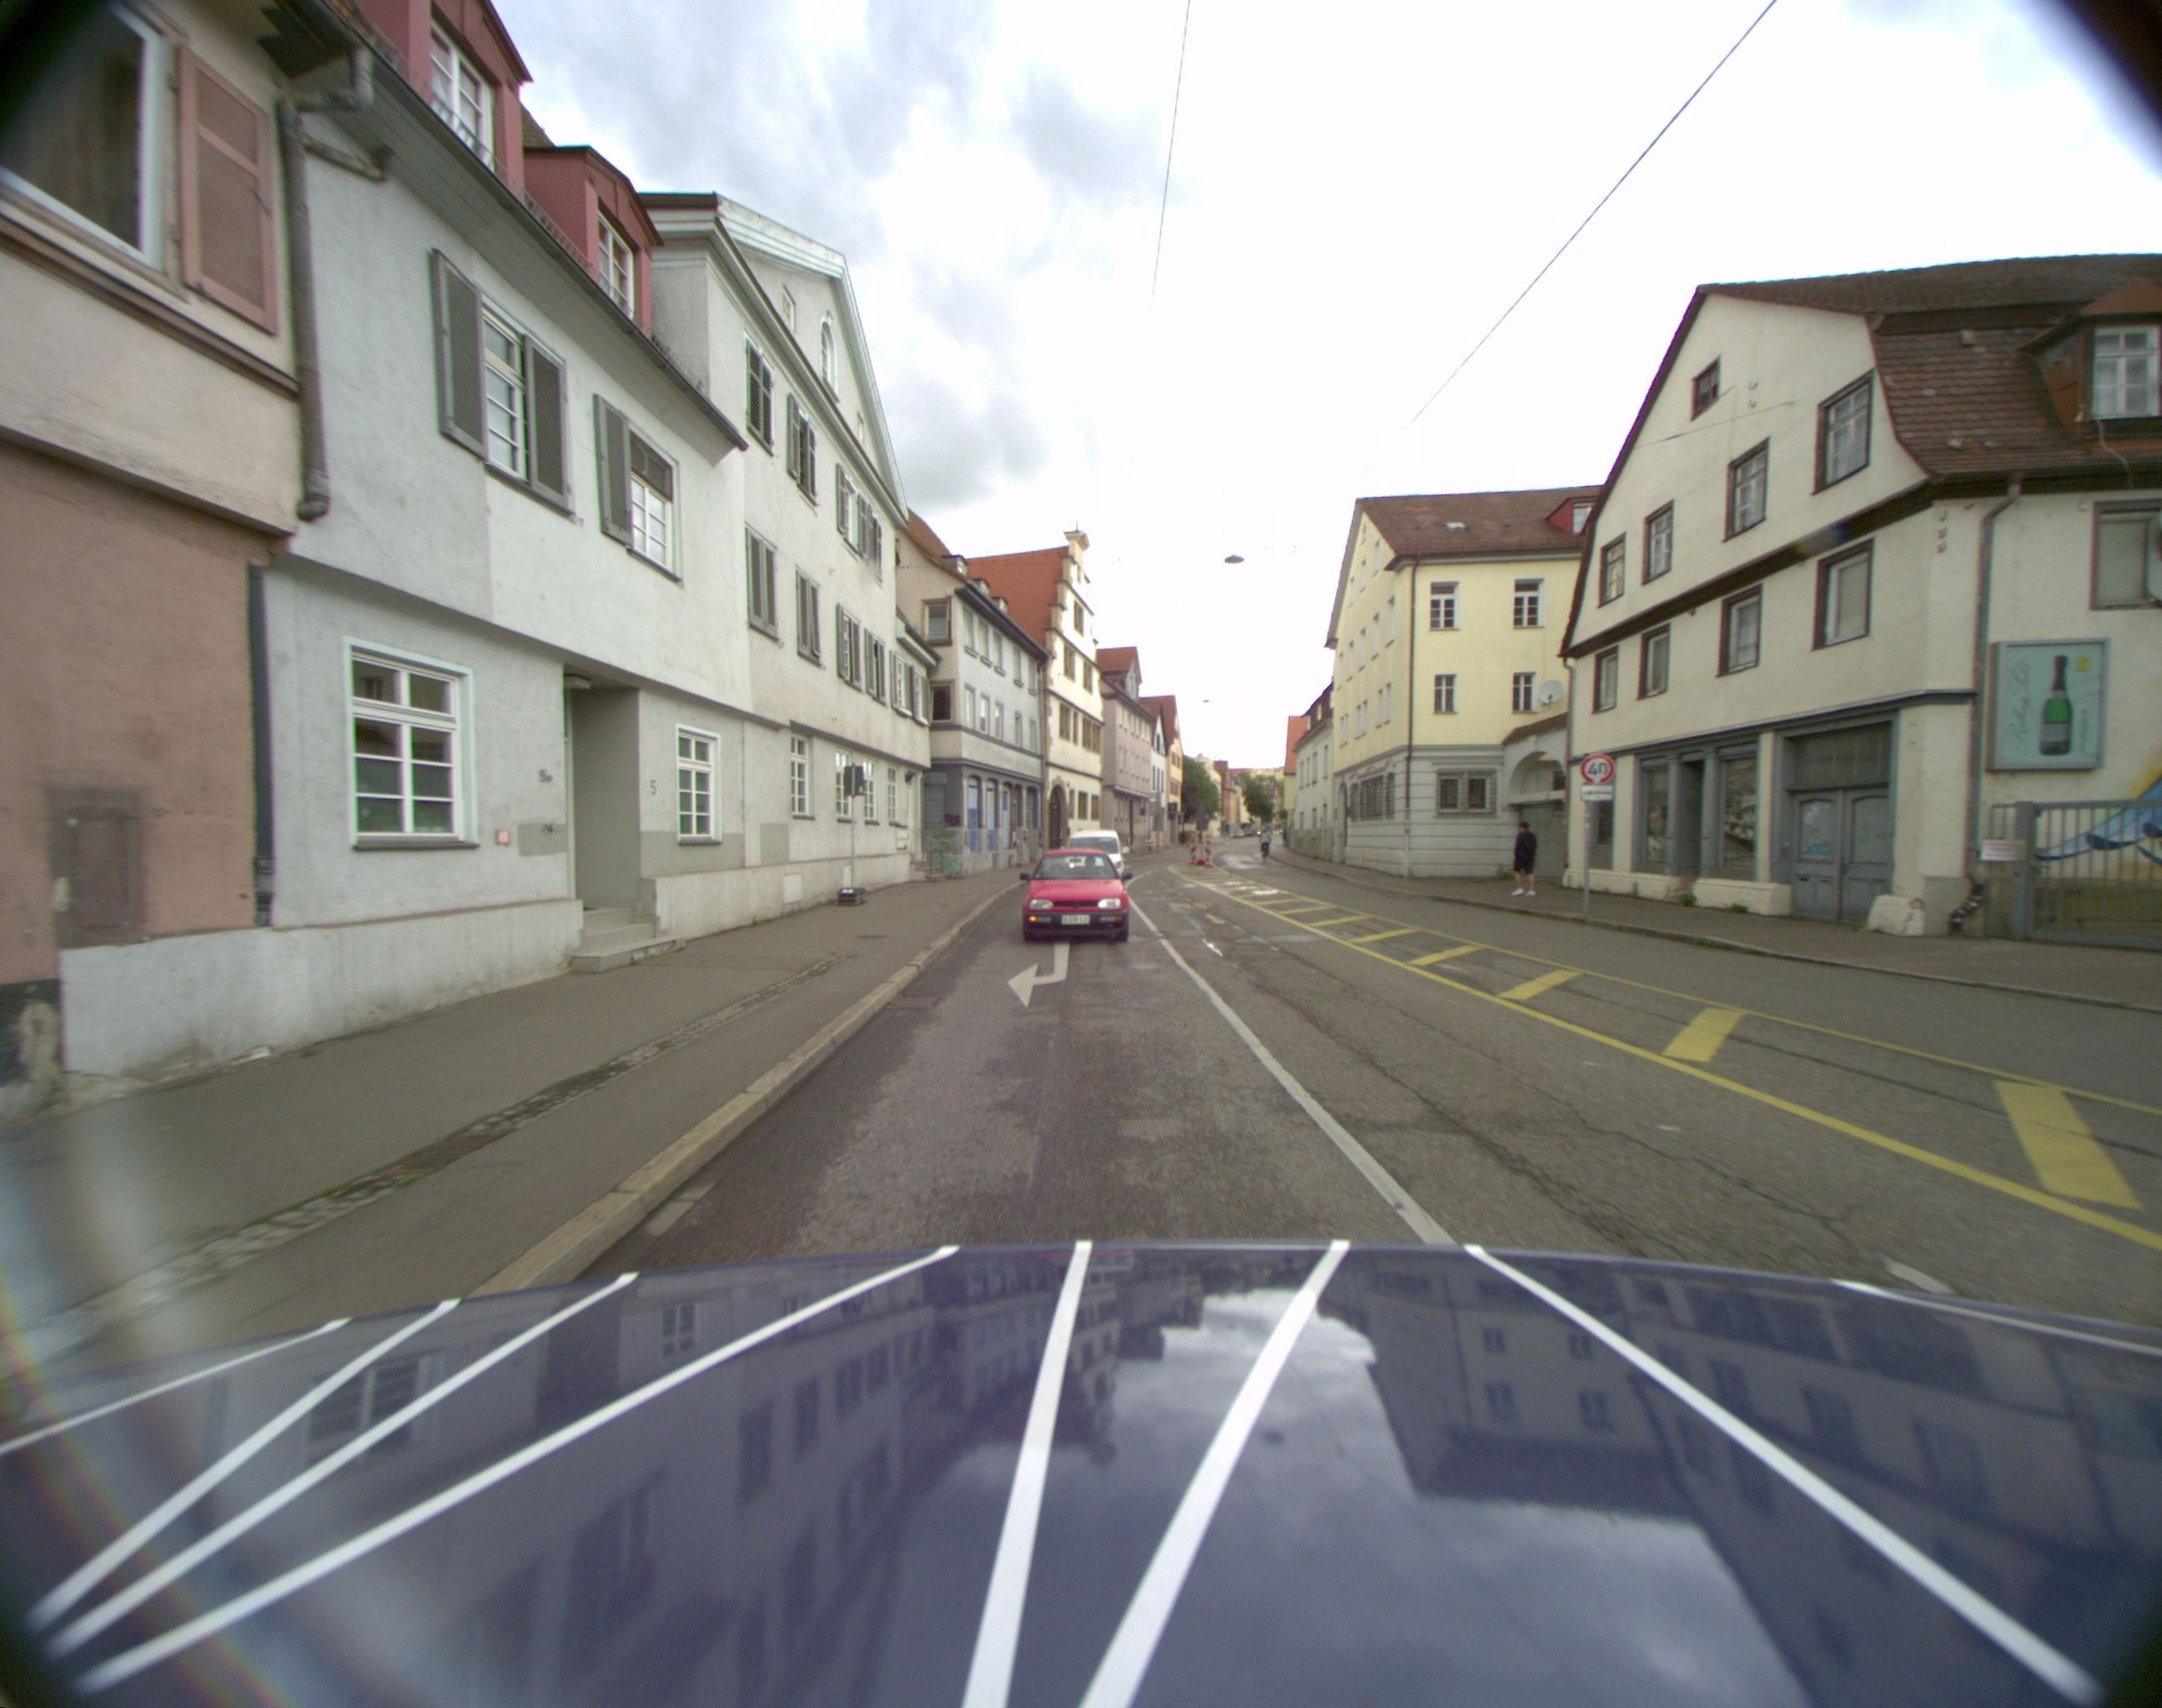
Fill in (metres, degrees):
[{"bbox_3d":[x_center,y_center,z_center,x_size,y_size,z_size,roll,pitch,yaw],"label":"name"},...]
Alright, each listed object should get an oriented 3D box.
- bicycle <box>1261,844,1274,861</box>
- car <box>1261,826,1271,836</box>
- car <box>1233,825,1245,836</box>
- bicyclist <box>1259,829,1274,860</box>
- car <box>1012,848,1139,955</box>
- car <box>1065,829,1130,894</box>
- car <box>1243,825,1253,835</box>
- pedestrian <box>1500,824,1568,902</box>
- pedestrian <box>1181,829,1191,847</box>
[{"bbox_3d":[10.422,-0.086,42.440,0.542,0.887,1.881,1,1,9],"label":"bicycle"},{"bbox_3d":[38.854,-4.815,159.325,1.996,2.002,4.003,1,1,13],"label":"car"},{"bbox_3d":[29.968,-4.366,143.935,1.996,2.002,4.003,1,1,13],"label":"car"},{"bbox_3d":[10.376,-0.548,42.466,0.724,1.691,0.811,1,2,8],"label":"bicyclist"},{"bbox_3d":[-0.030,0.683,13.178,1.804,1.458,3.999,-2,1,2],"label":"car"},{"bbox_3d":[0.508,0.169,23.142,1.804,1.781,4.348,0,1,1],"label":"car"},{"bbox_3d":[36.225,-5.195,164.479,1.996,2.002,4.003,1,1,13],"label":"car"},{"bbox_3d":[11.294,0.224,18.979,1.056,1.875,1.092,-1,1,4],"label":"pedestrian"},{"bbox_3d":[11.592,-1.767,83.990,0.878,1.889,0.896,0,2,-4],"label":"pedestrian"}]
